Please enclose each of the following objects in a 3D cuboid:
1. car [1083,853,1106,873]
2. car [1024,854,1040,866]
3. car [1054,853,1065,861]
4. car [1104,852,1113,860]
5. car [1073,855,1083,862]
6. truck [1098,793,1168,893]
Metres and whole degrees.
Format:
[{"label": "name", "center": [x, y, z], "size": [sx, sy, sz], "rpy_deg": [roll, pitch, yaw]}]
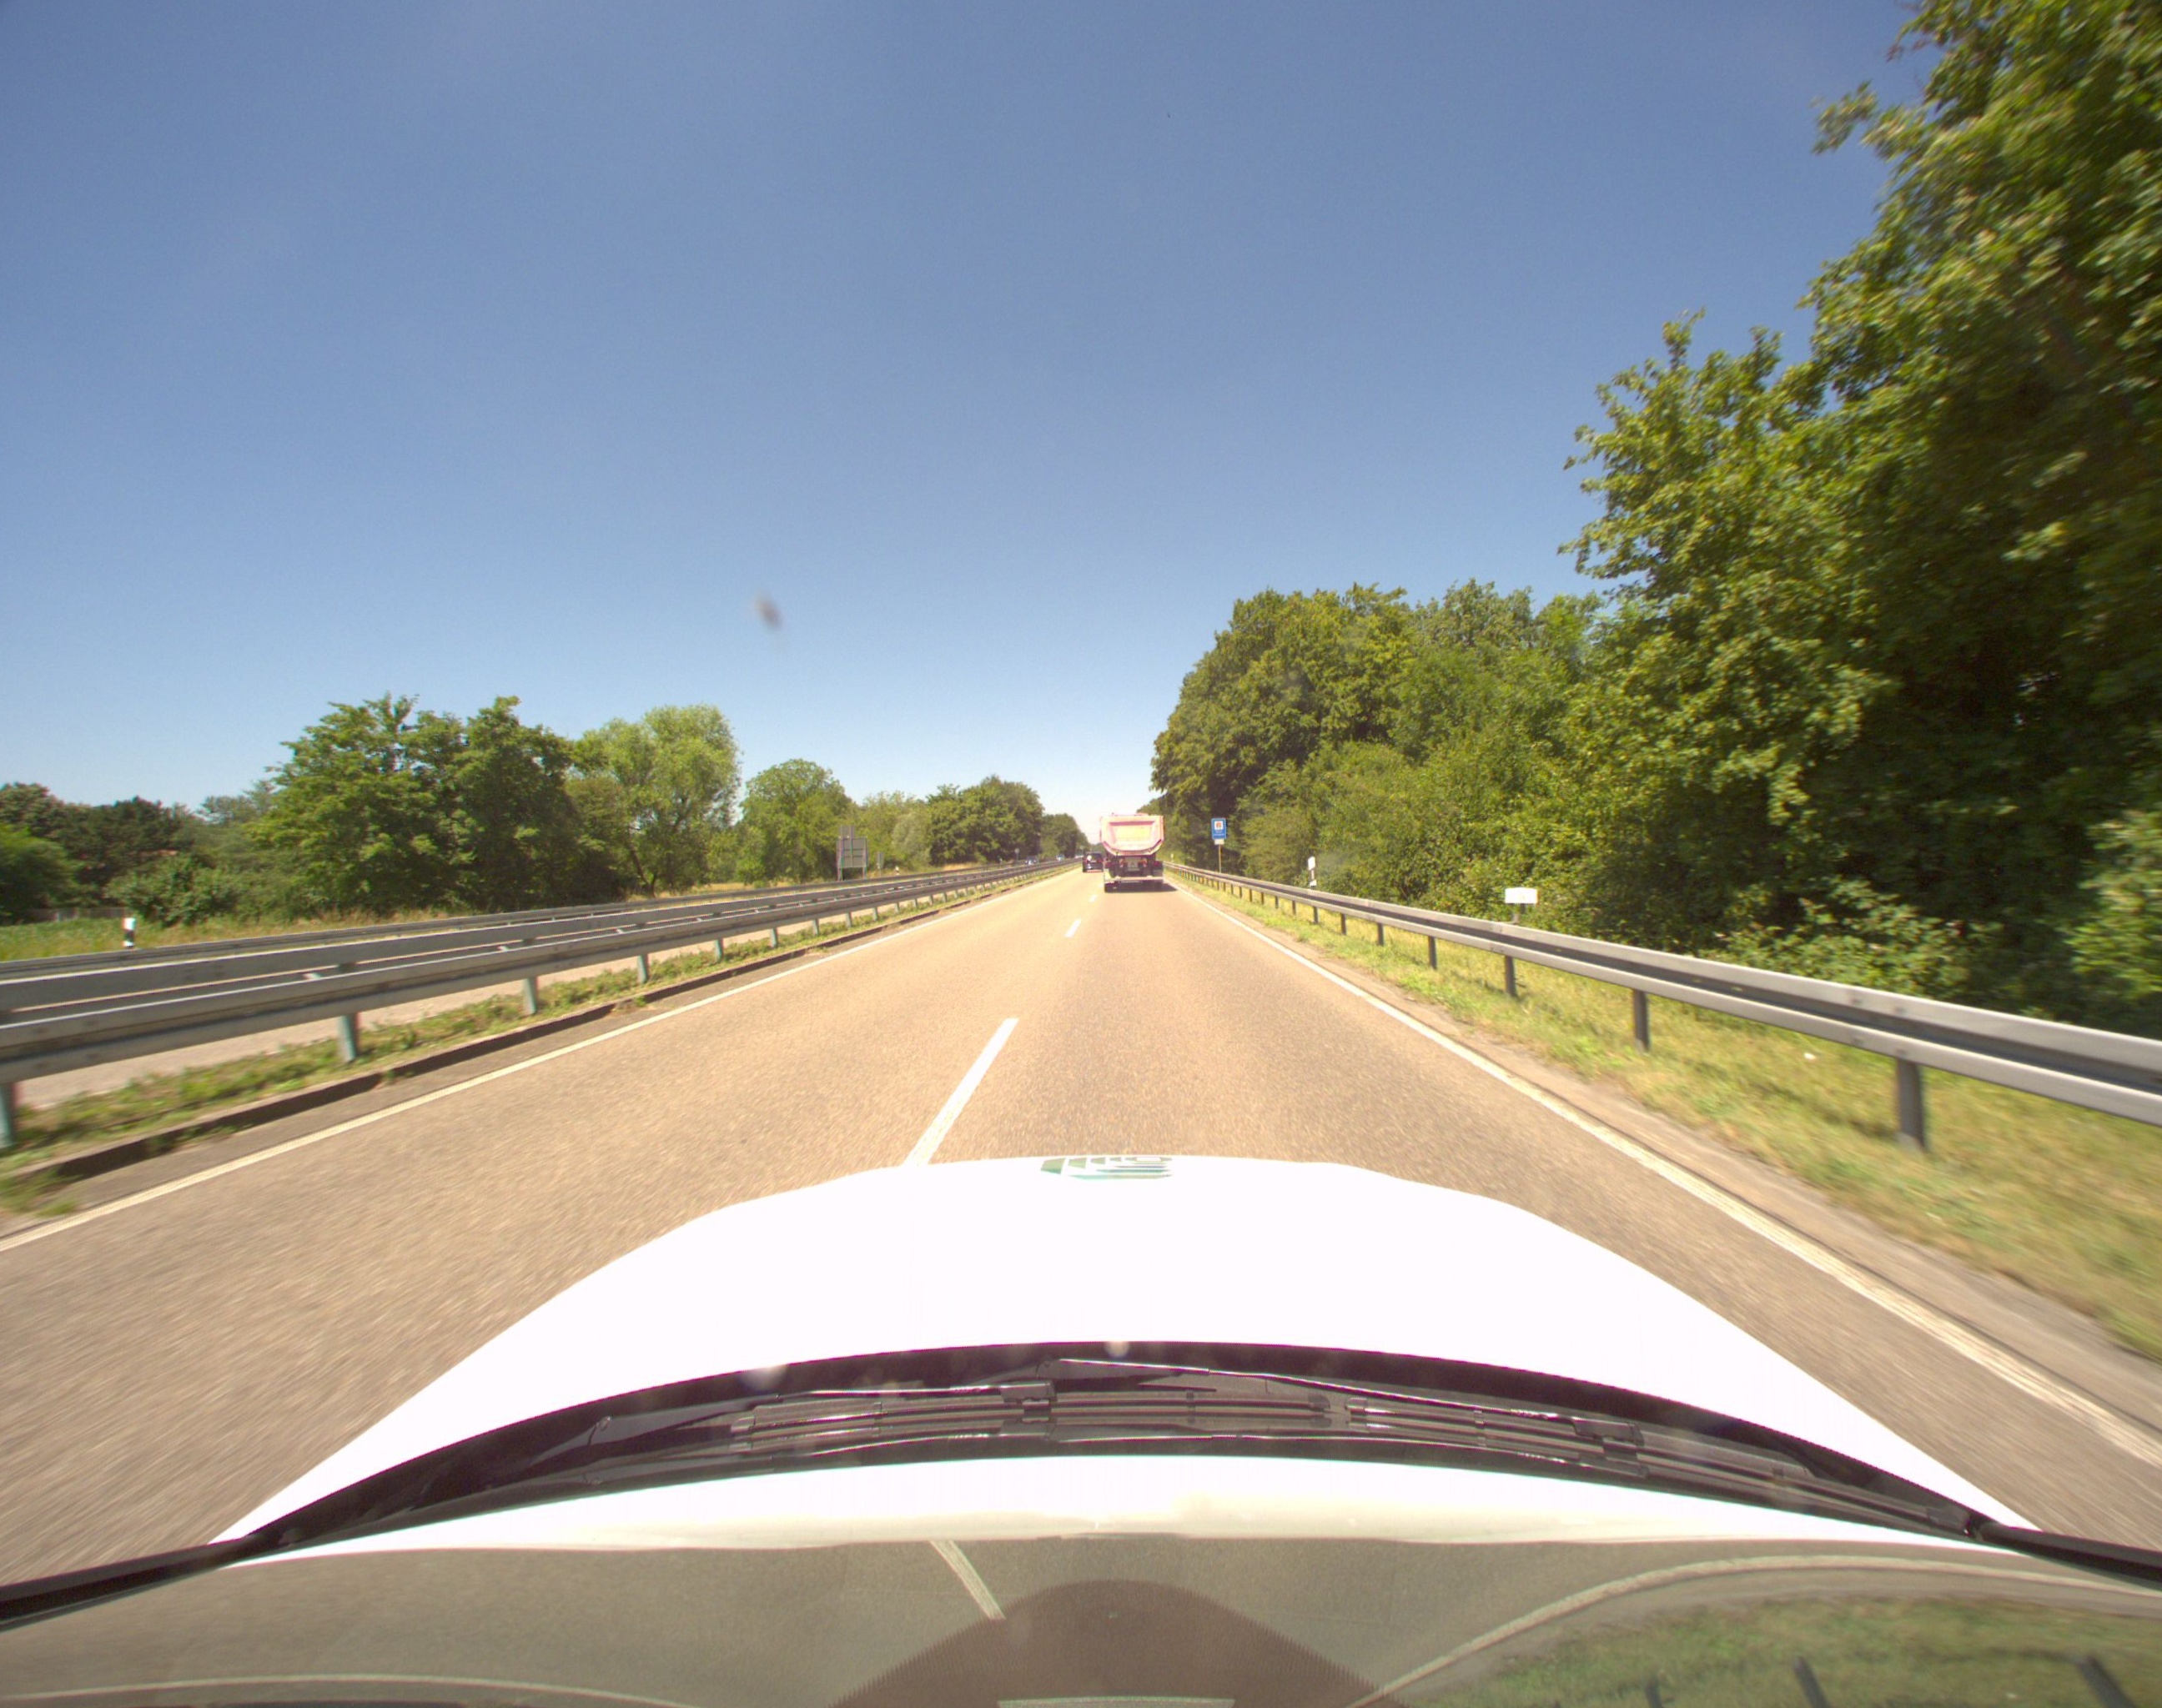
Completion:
[{"label": "car", "center": [1.218, 0.807, 71.258], "size": [1.850, 1.671, 4.001], "rpy_deg": [-1, -2, 2]}, {"label": "car", "center": [-7.353, 0.925, 122.627], "size": [1.771, 1.620, 4.511], "rpy_deg": [-4, 0, 4]}, {"label": "car", "center": [-4.610, 0.705, 175.068], "size": [1.805, 1.543, 4.932], "rpy_deg": [-3, 0, 3]}, {"label": "car", "center": [6.157, 0.526, 183.377], "size": [1.850, 1.718, 4.001], "rpy_deg": [-1, -2, 2]}, {"label": "car", "center": [-0.720, 1.040, 189.452], "size": [1.984, 1.632, 4.559], "rpy_deg": [-3, 0, 5]}, {"label": "truck", "center": [2.310, -0.448, 38.575], "size": [2.710, 3.930, 12.376], "rpy_deg": [-1, 0, 2]}]
